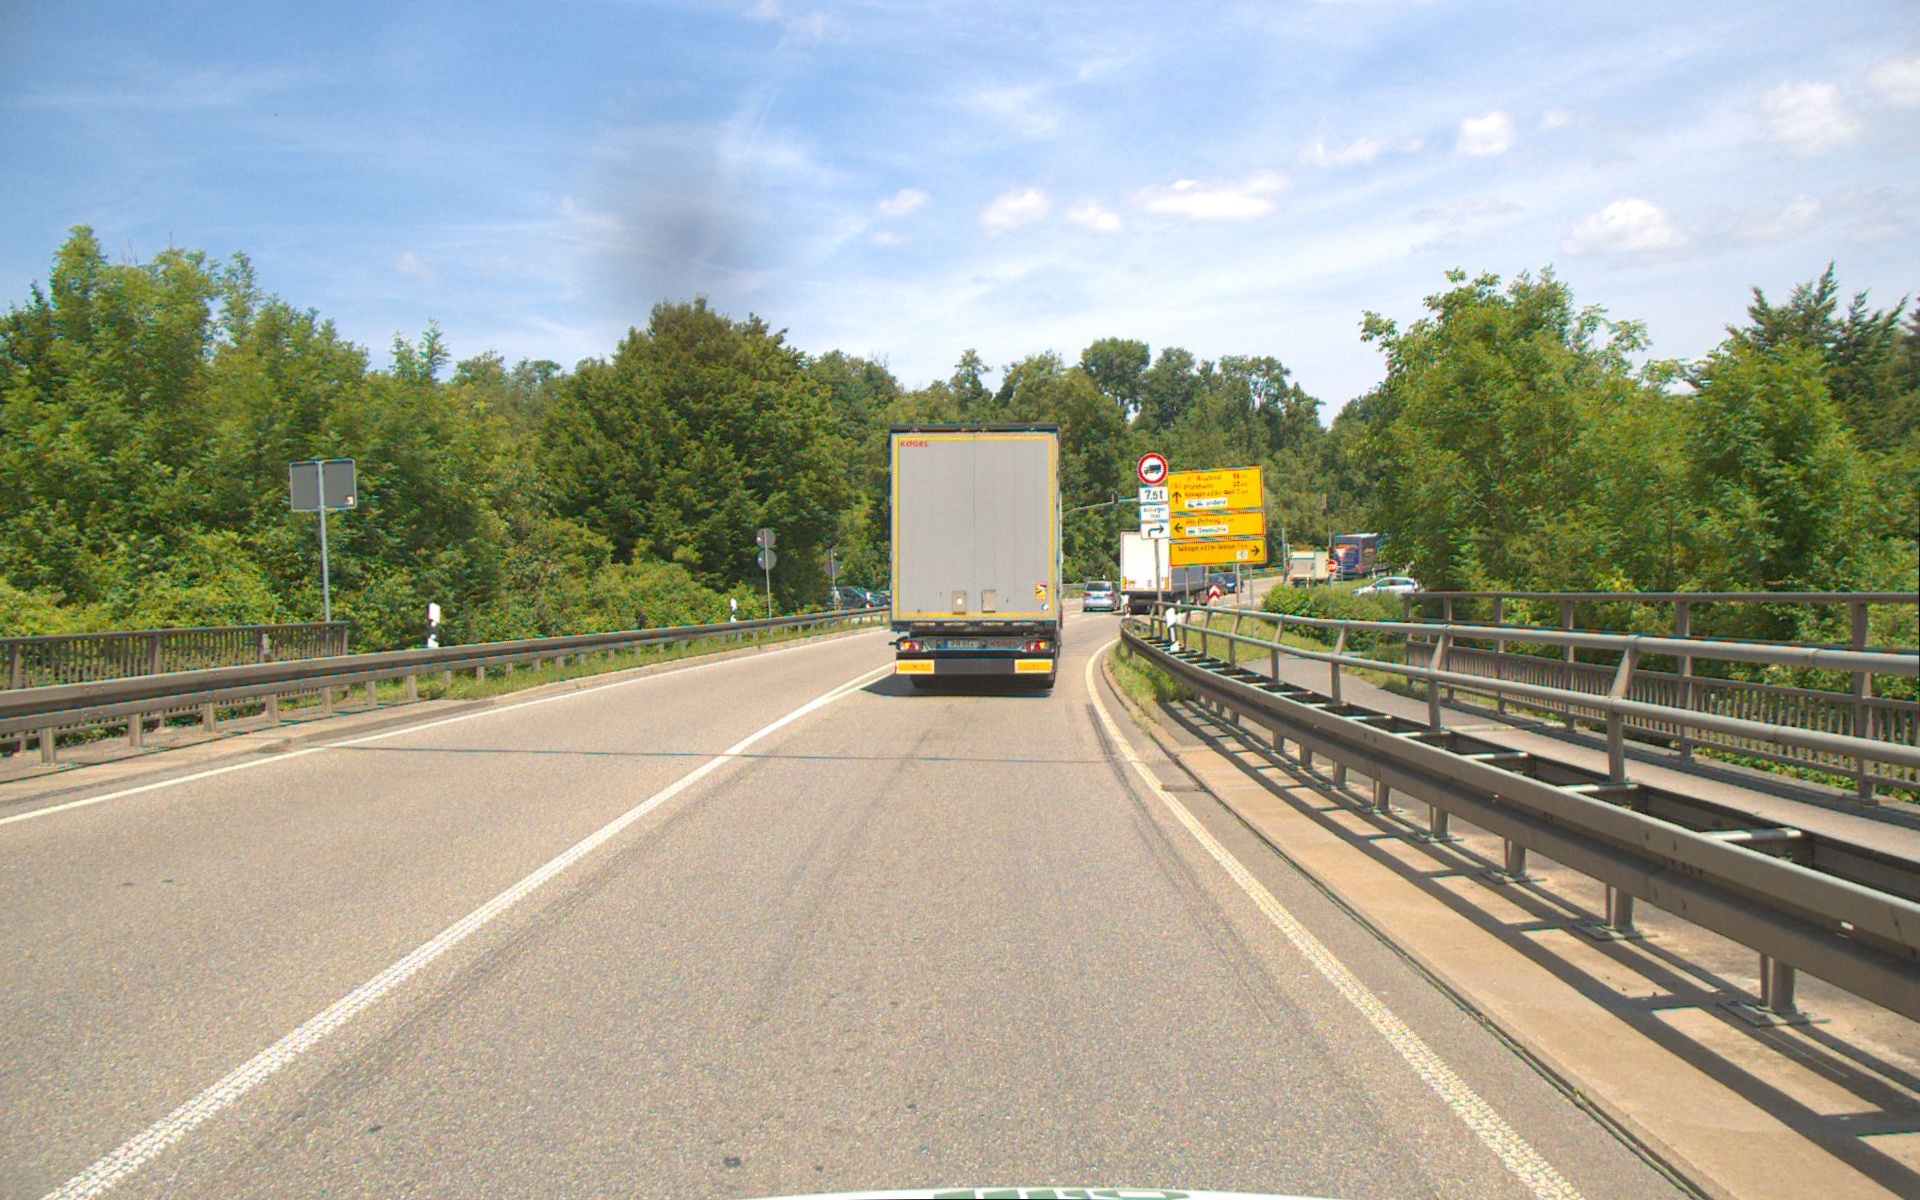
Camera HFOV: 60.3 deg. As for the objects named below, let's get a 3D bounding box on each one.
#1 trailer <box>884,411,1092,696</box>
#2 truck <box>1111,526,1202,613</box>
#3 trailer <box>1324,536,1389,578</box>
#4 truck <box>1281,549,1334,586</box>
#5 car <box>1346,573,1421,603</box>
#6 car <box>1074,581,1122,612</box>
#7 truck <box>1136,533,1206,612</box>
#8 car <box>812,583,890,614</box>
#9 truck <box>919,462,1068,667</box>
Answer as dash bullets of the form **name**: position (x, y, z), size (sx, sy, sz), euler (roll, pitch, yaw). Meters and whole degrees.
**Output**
- **trailer**: position (0.565, -0.691, 30.233), size (2.988, 4.104, 12.561), euler (0, 0, 1)
- **truck**: position (10.194, -1.442, 84.437), size (3.111, 4.099, 11.754), euler (0, 0, 14)
- **trailer**: position (36.970, -3.933, 153.855), size (3.192, 3.749, 9.229), euler (0, 1, 32)
- **truck**: position (29.011, -2.730, 137.985), size (2.799, 2.999, 7.100), euler (0, 1, 25)
- **car**: position (25.406, -0.718, 99.265), size (4.334, 1.748, 2.001), euler (1, -1, 15)
- **car**: position (7.414, -0.164, 88.450), size (1.951, 1.546, 4.003), euler (1, -1, 13)
- **truck**: position (11.470, -1.423, 89.484), size (3.101, 4.074, 5.819), euler (0, 0, 14)
- **car**: position (-6.406, -0.099, 97.286), size (4.146, 1.801, 2.000), euler (0, 0, 20)
- **truck**: position (0.757, -0.727, 36.687), size (2.975, 4.104, 6.630), euler (0, 0, 1)
